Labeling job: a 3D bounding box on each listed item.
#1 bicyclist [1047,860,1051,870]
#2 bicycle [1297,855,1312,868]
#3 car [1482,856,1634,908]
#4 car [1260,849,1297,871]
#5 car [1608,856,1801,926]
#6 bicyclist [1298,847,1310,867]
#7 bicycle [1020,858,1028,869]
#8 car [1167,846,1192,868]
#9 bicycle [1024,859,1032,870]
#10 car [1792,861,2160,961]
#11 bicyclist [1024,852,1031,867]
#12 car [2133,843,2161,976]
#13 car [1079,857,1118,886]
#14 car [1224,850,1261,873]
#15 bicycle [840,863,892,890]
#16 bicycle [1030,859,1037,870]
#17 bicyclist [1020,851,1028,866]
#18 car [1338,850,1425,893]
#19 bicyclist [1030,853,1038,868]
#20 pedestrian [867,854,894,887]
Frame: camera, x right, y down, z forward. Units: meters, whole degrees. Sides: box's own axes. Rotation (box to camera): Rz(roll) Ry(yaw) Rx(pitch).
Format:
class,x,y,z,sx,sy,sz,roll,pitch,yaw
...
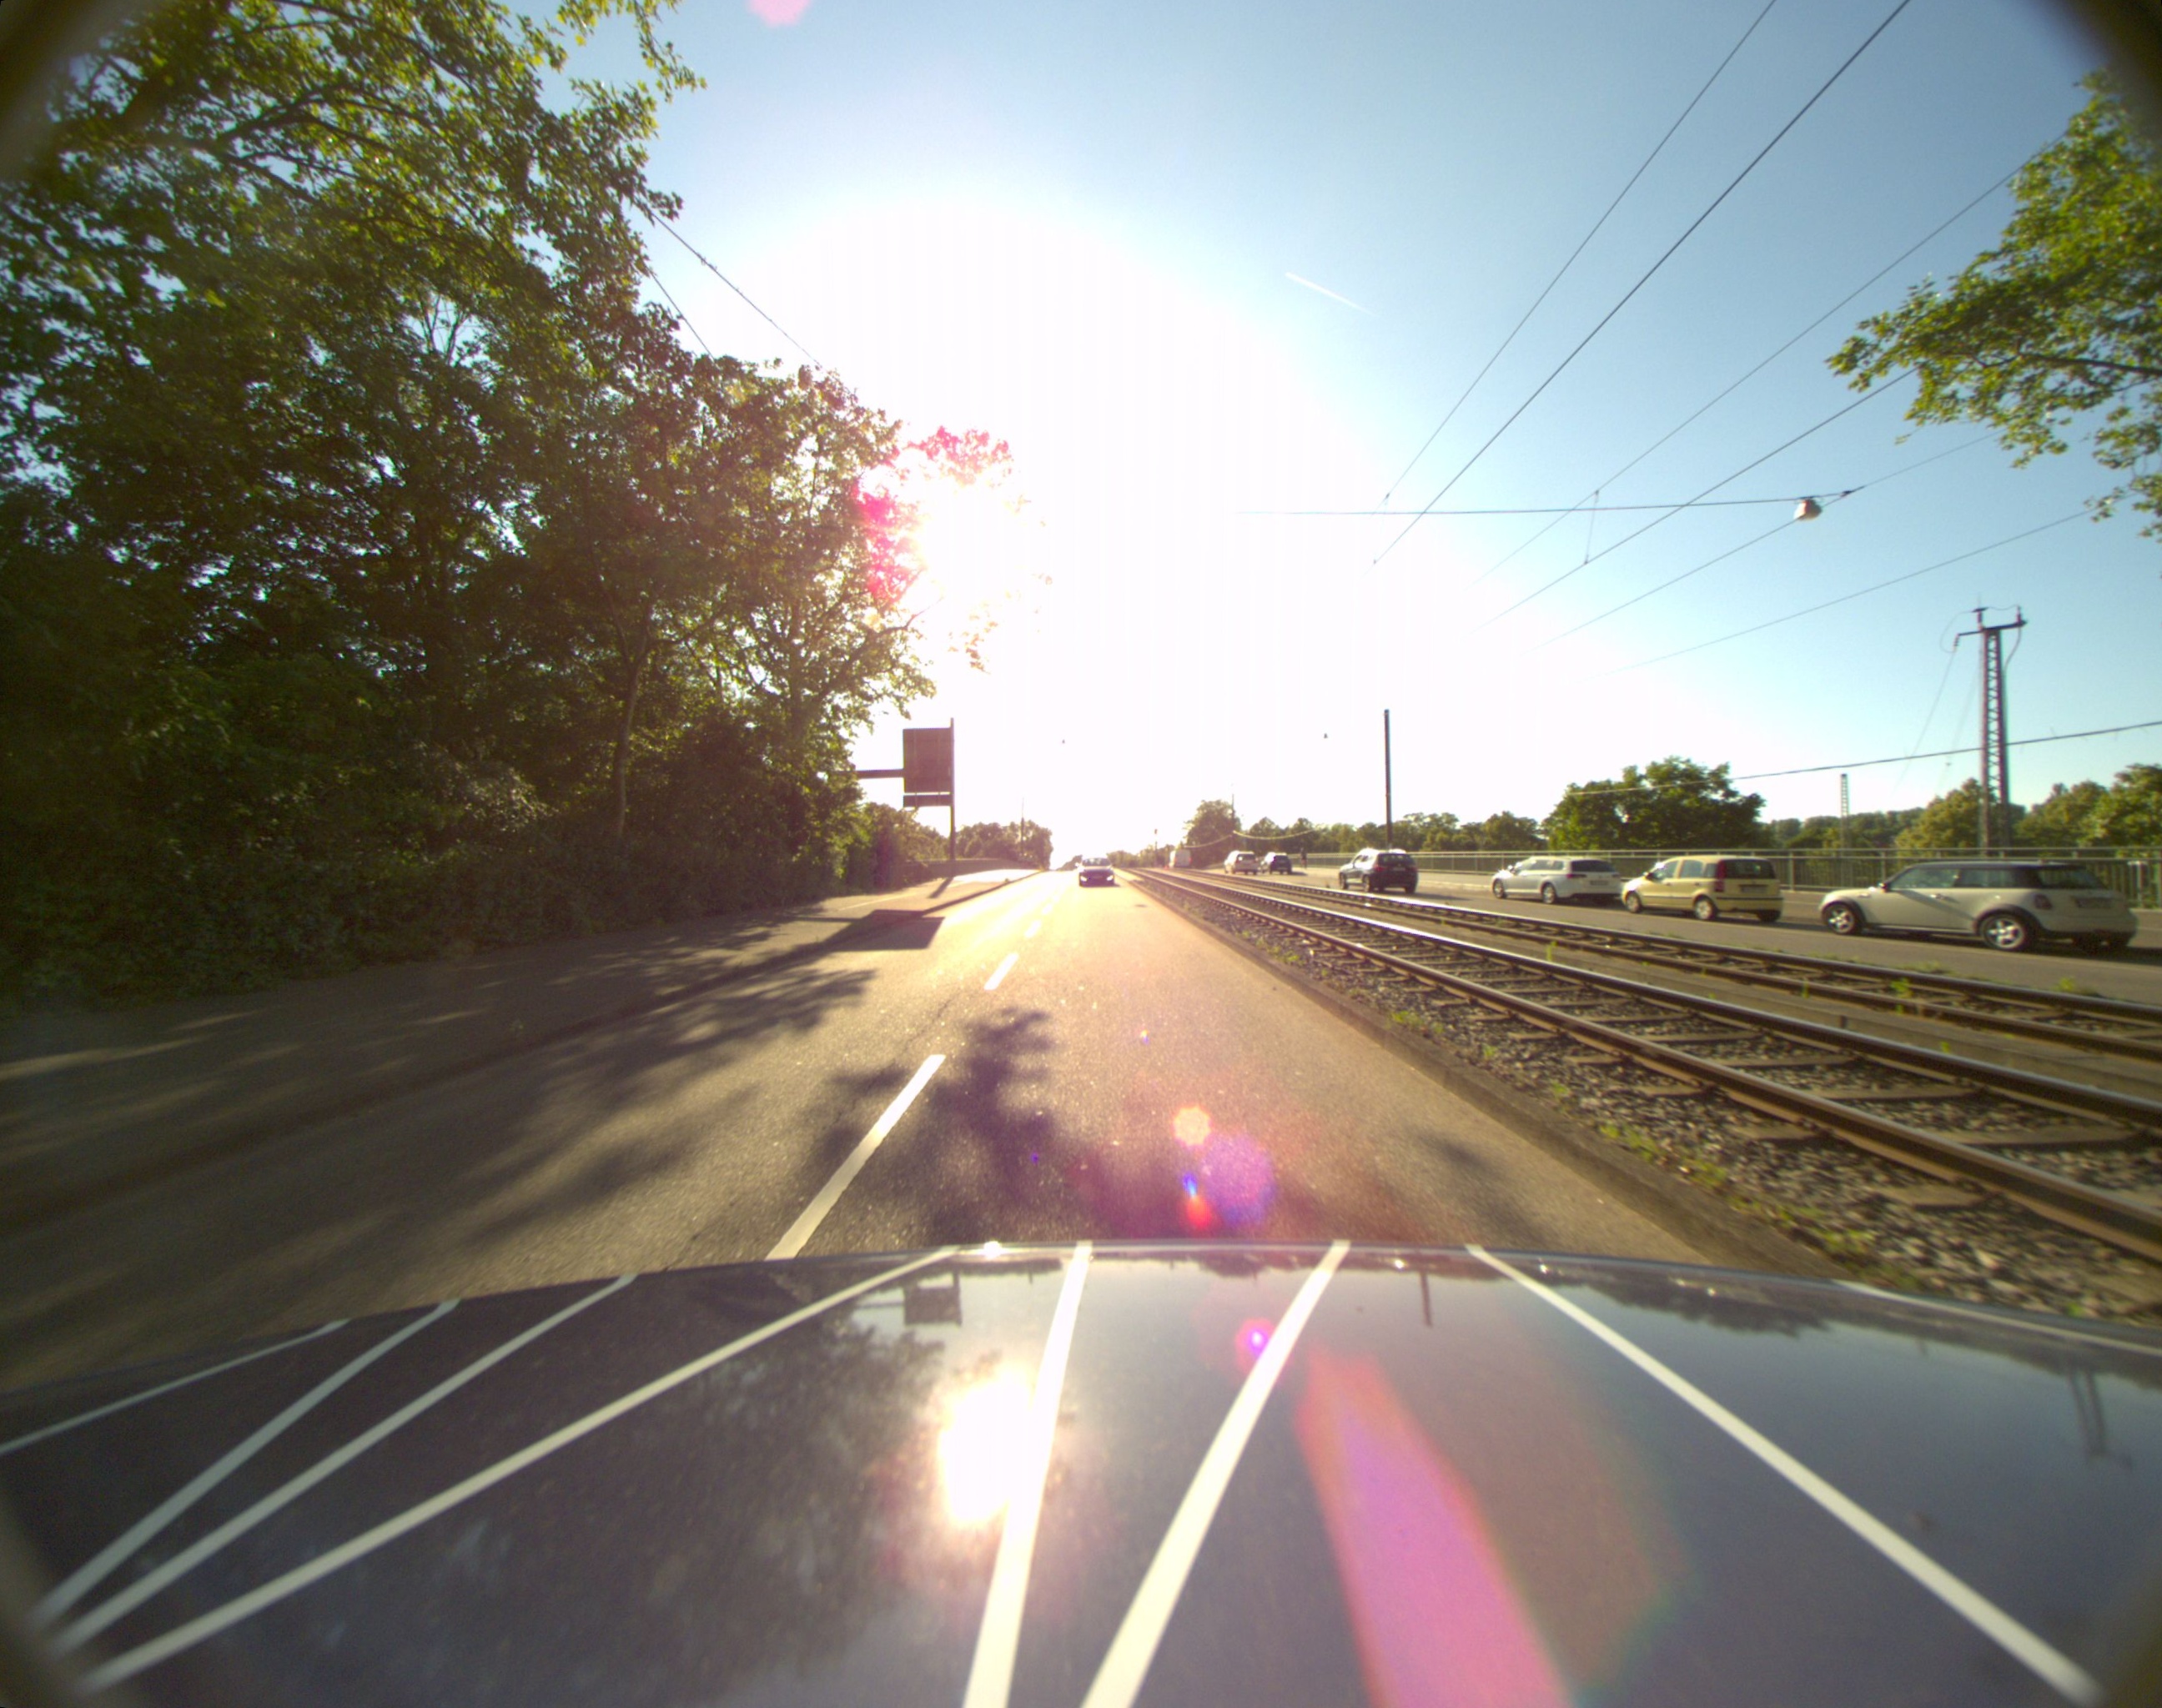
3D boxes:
class,x,y,z,sx,sy,sz,roll,pitch,yaw
bicyclist,-5.417,1.899,128.544,0.733,1.679,1.202,-3,-1,-3
bicycle,18.649,0.618,63.491,0.681,1.091,2.100,-3,0,2
car,15.083,0.824,24.418,1.746,1.455,4.956,-1,0,0
car,15.681,0.515,60.619,1.784,1.640,4.447,1,-1,0
car,15.051,0.823,18.628,1.637,1.522,3.790,-1,0,0
bicyclist,18.627,0.284,63.389,0.681,1.617,0.890,-3,0,1
bicycle,-5.742,0.966,76.510,0.626,1.115,2.260,-1,-2,0
car,12.187,0.354,94.650,2.092,2.577,6.040,1,0,-2
bicycle,-5.673,1.139,81.182,0.626,1.115,2.042,-1,-1,0
car,15.129,0.865,13.248,1.638,1.442,4.002,-1,0,-2
bicyclist,-5.722,0.603,81.174,0.626,1.583,0.931,-1,-1,0
car,15.010,0.699,7.867,1.746,1.743,4.684,-1,0,0
car,0.790,0.866,37.223,1.802,1.345,4.001,0,-2,0
car,12.435,0.534,58.769,1.877,1.655,4.597,2,0,1
bicycle,-9.173,0.962,32.422,2.038,1.116,0.628,0,1,13
bicycle,-5.356,1.179,86.089,0.685,1.115,2.217,-1,-3,0
bicyclist,-5.750,0.485,76.481,0.626,1.499,1.006,-1,-2,0
car,11.877,0.667,30.335,1.746,1.614,4.394,0,0,0
bicyclist,-5.356,0.744,86.124,0.814,1.552,0.897,-1,-2,0
pedestrian,-8.658,0.713,32.775,0.812,1.387,0.807,0,1,14
